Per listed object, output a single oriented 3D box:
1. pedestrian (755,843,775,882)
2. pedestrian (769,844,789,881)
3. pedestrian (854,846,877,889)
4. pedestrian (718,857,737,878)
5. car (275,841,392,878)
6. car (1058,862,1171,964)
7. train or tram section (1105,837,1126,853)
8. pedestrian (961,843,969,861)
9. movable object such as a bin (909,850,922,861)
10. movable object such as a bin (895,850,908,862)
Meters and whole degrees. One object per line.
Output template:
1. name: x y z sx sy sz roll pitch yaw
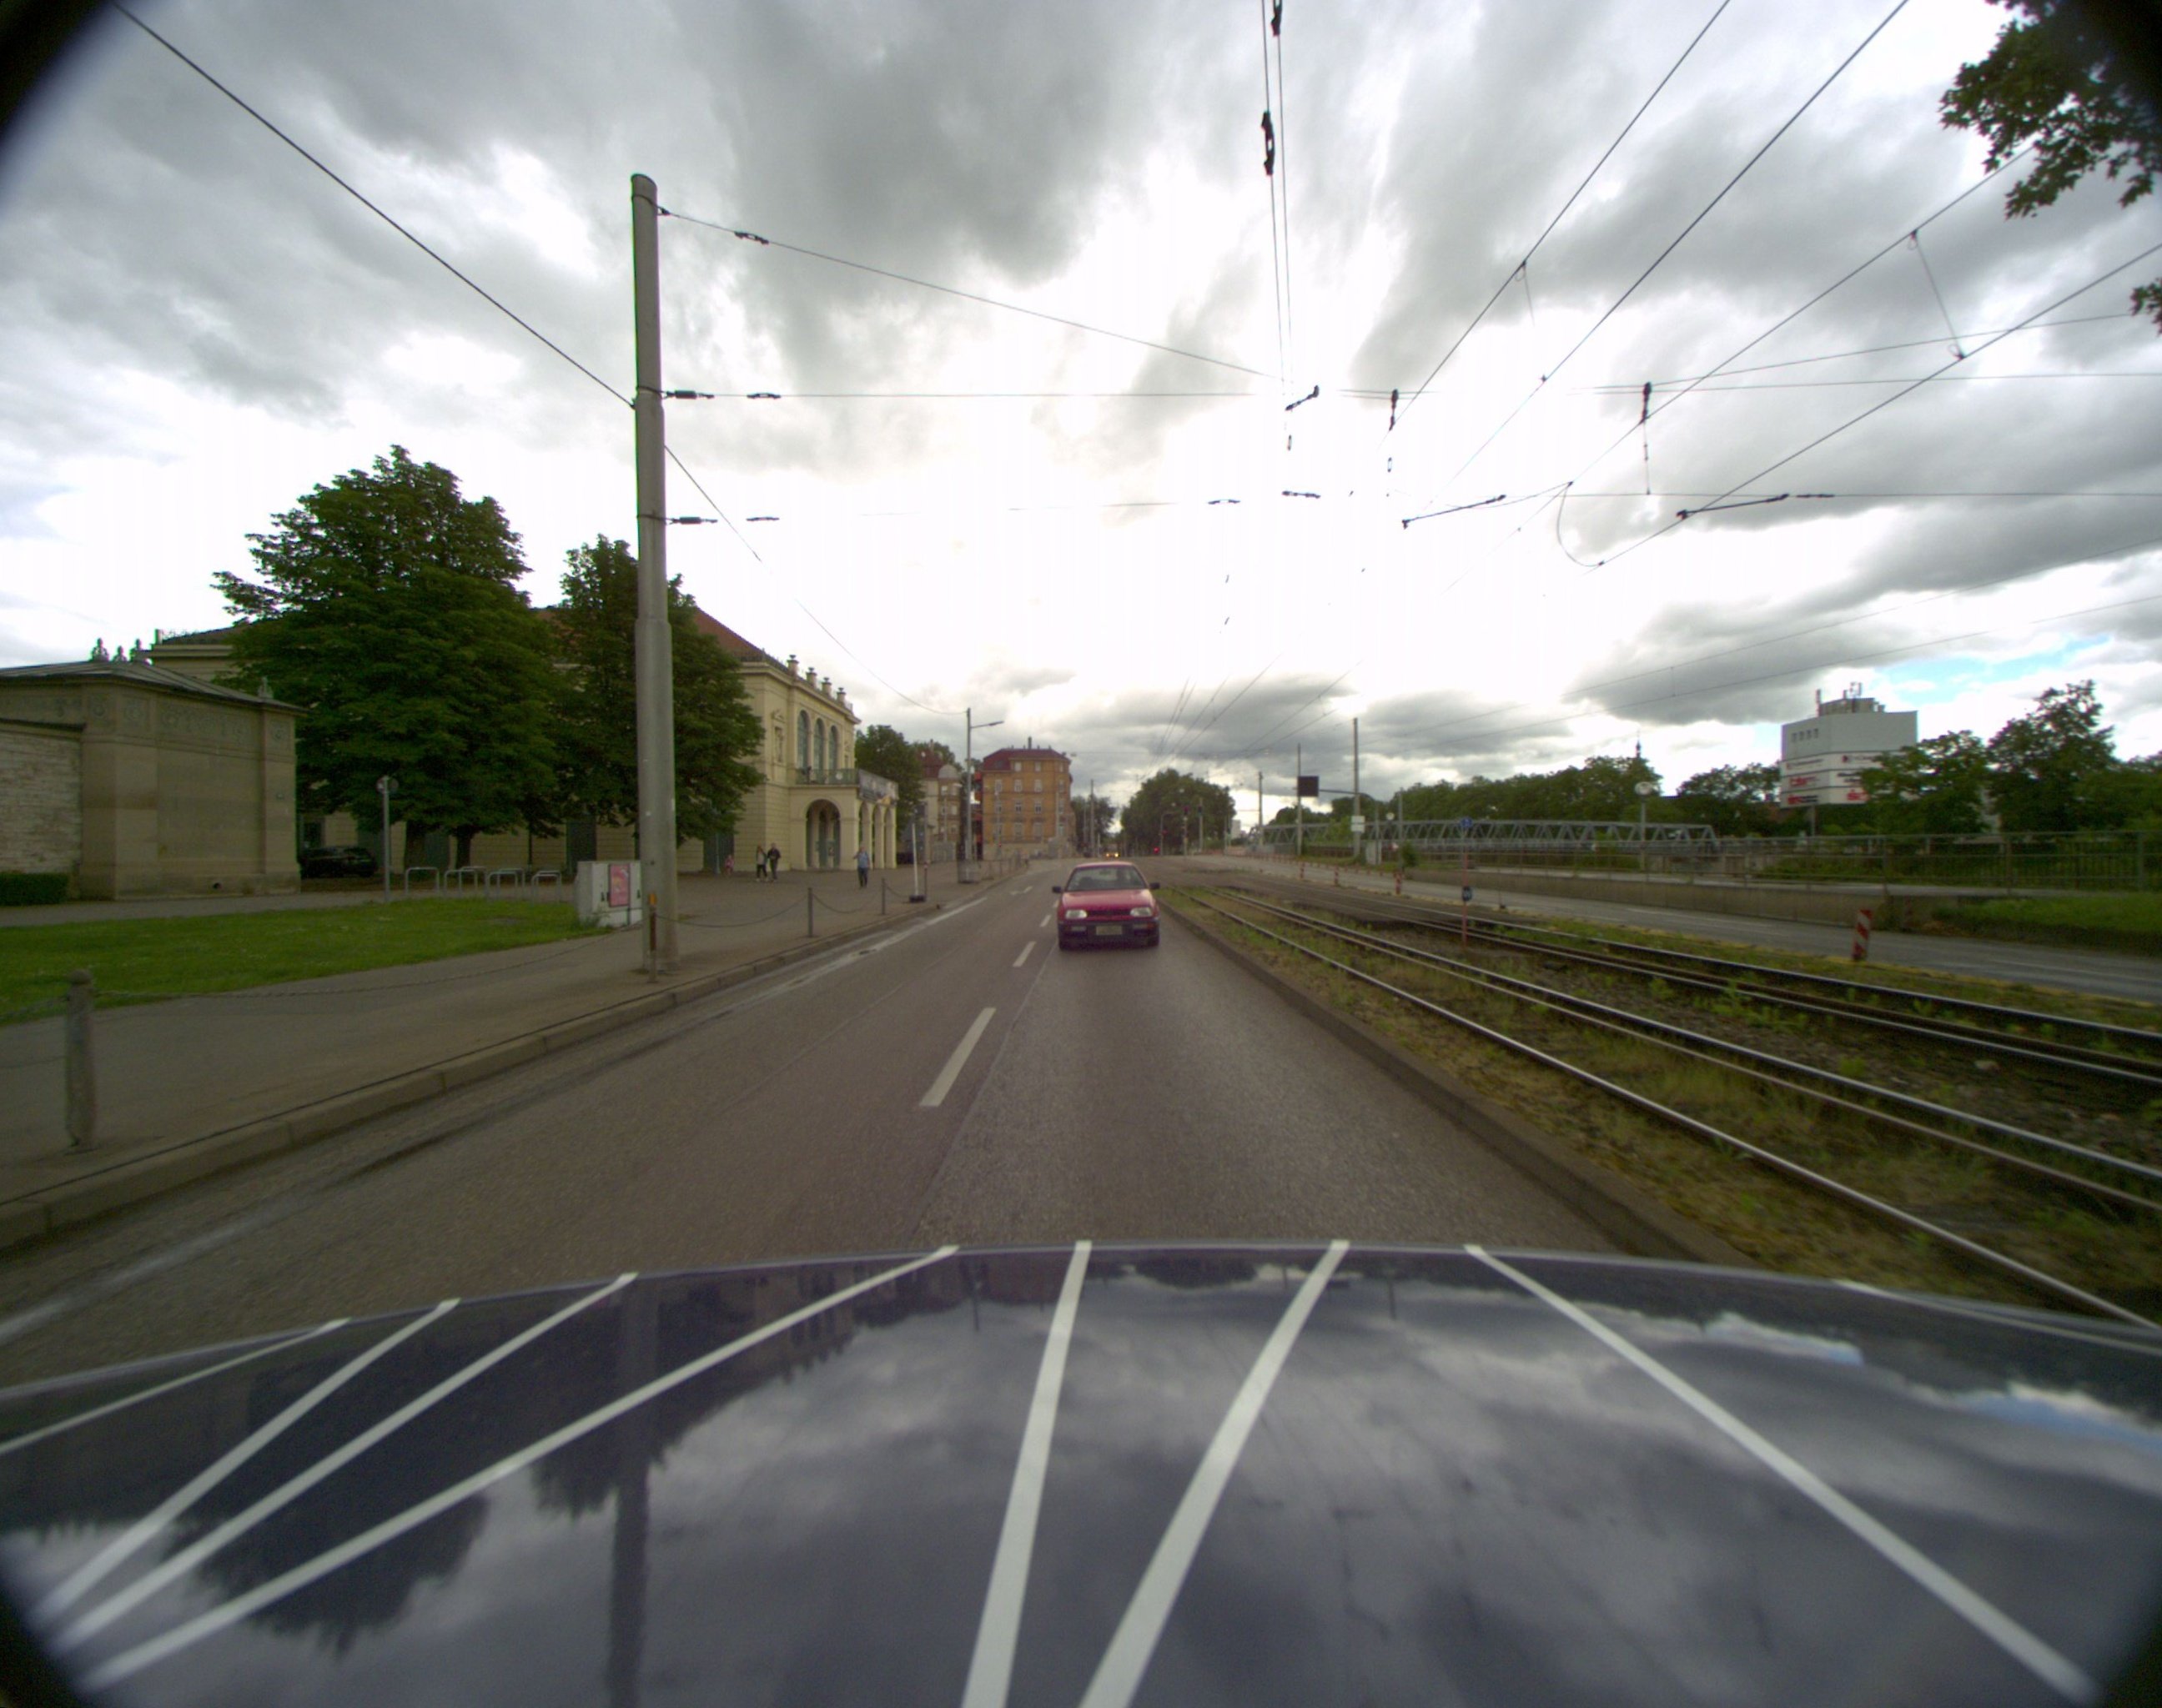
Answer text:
1. pedestrian: -14.484 0.388 34.841 0.596 1.782 0.808 0 1 1
2. pedestrian: -13.862 0.373 34.885 0.598 1.689 0.790 0 1 1
3. pedestrian: -9.072 0.556 31.993 0.672 1.758 0.936 0 1 1
4. pedestrian: -16.761 0.628 36.018 0.760 0.995 0.595 -1 1 -34
5. car: -36.605 0.255 37.294 3.787 1.641 1.900 -2 1 1
6. car: 0.529 0.935 13.794 1.681 1.433 4.119 -2 0 0
7. train or tram section: 7.519 -2.041 167.702 3.739 3.346 17.551 1 1 0
8. pedestrian: -11.167 -0.203 73.117 0.672 1.758 0.936 0 1 1
9. movable object such as a bin: -19.605 0.157 90.074 1.297 1.361 1.379 0 1 0
10. movable object such as a bin: -21.259 0.183 90.020 1.297 1.398 1.379 0 1 0
